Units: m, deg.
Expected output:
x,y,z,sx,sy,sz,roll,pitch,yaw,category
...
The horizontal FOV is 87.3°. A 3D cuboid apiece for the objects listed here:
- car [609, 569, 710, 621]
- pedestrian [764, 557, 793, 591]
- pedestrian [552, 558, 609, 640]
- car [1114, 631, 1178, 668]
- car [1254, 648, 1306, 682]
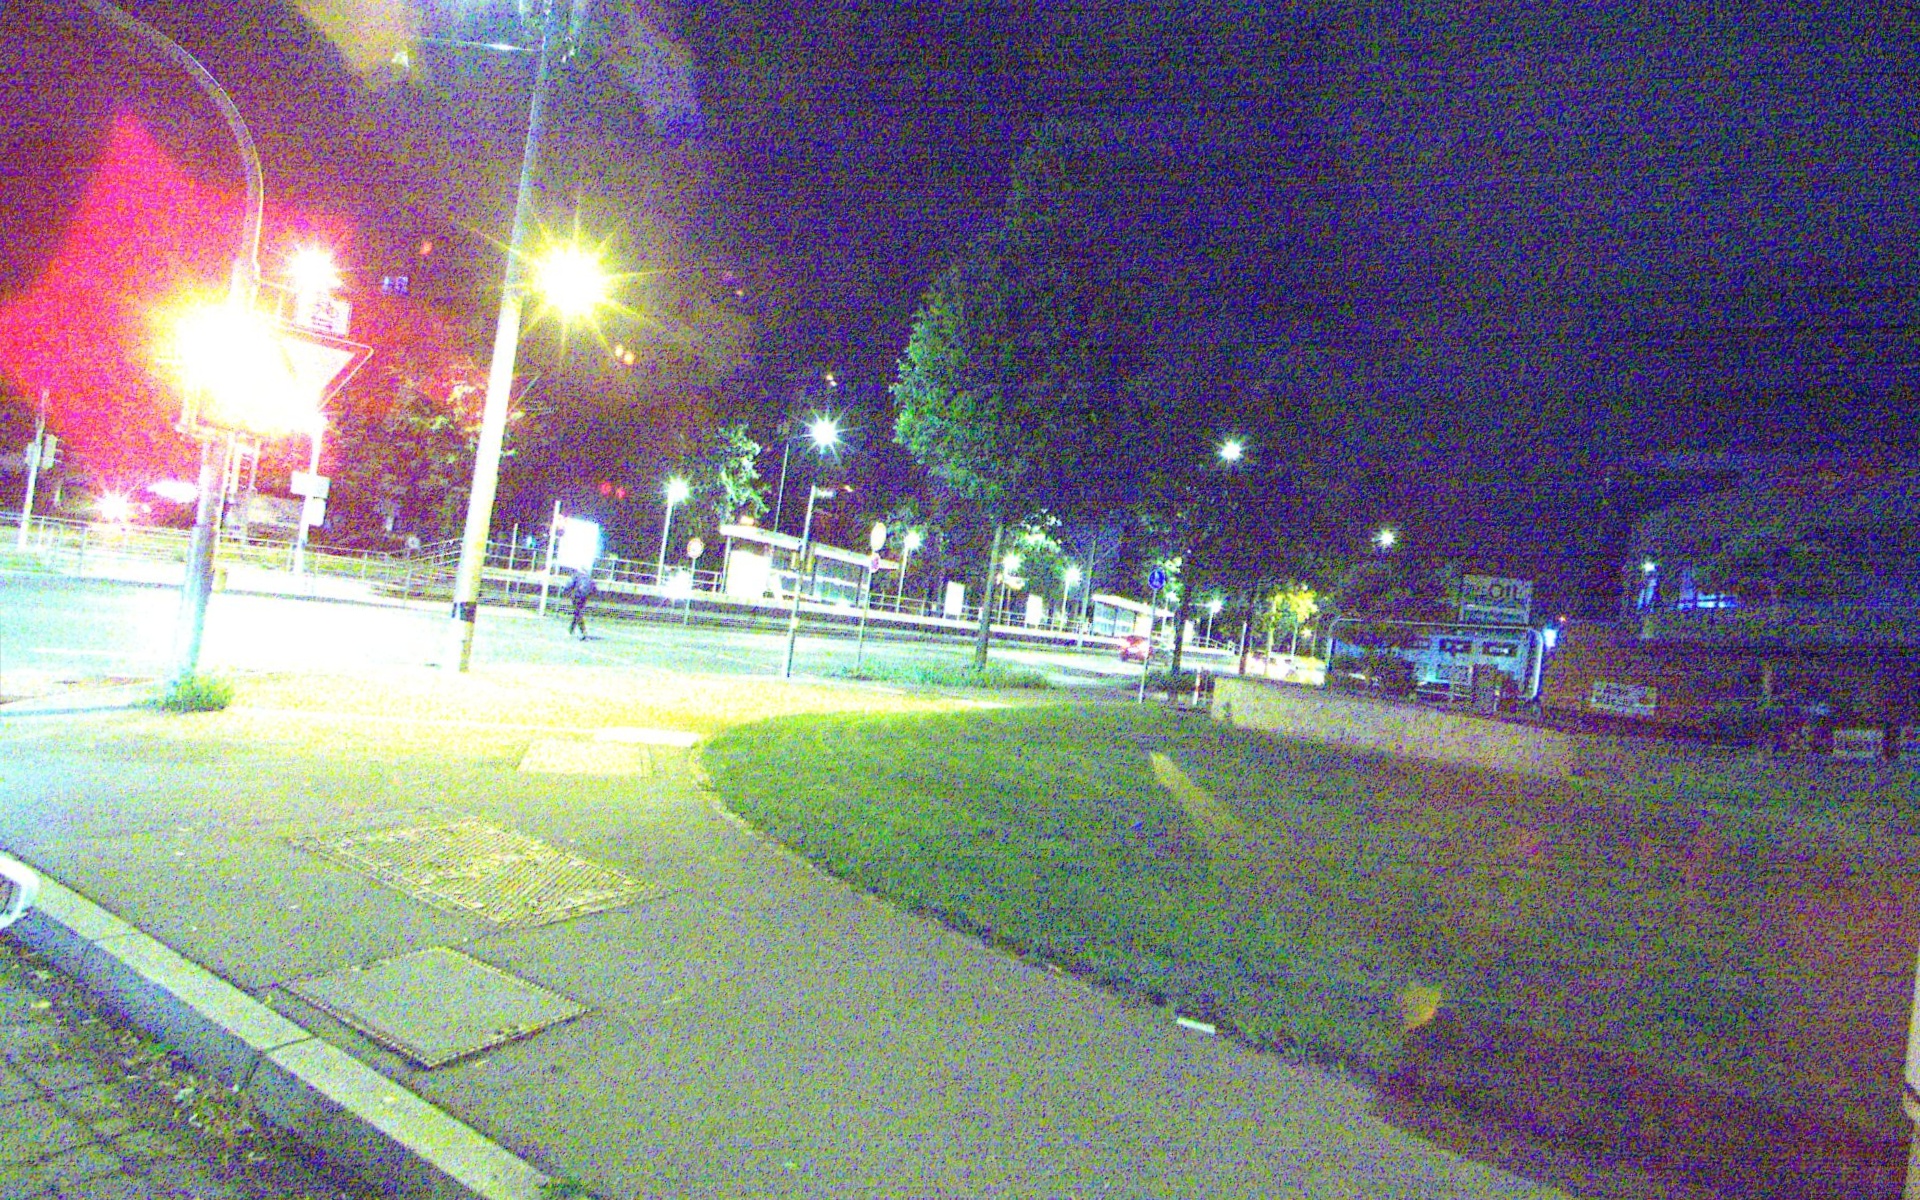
x,y,z,sx,sy,sz,roll,pitch,yaw,category
-13.820,-0.215,46.465,1.970,2.039,3.985,6,0,36,car
-8.860,-1.259,49.053,1.129,1.518,1.073,6,-1,-19,pedestrian
-8.578,-0.015,22.760,0.820,1.767,0.755,6,1,31,pedestrian
10.894,2.902,58.663,1.834,1.679,4.449,9,0,35,car
19.257,3.894,60.473,1.780,1.684,3.988,10,3,33,car
